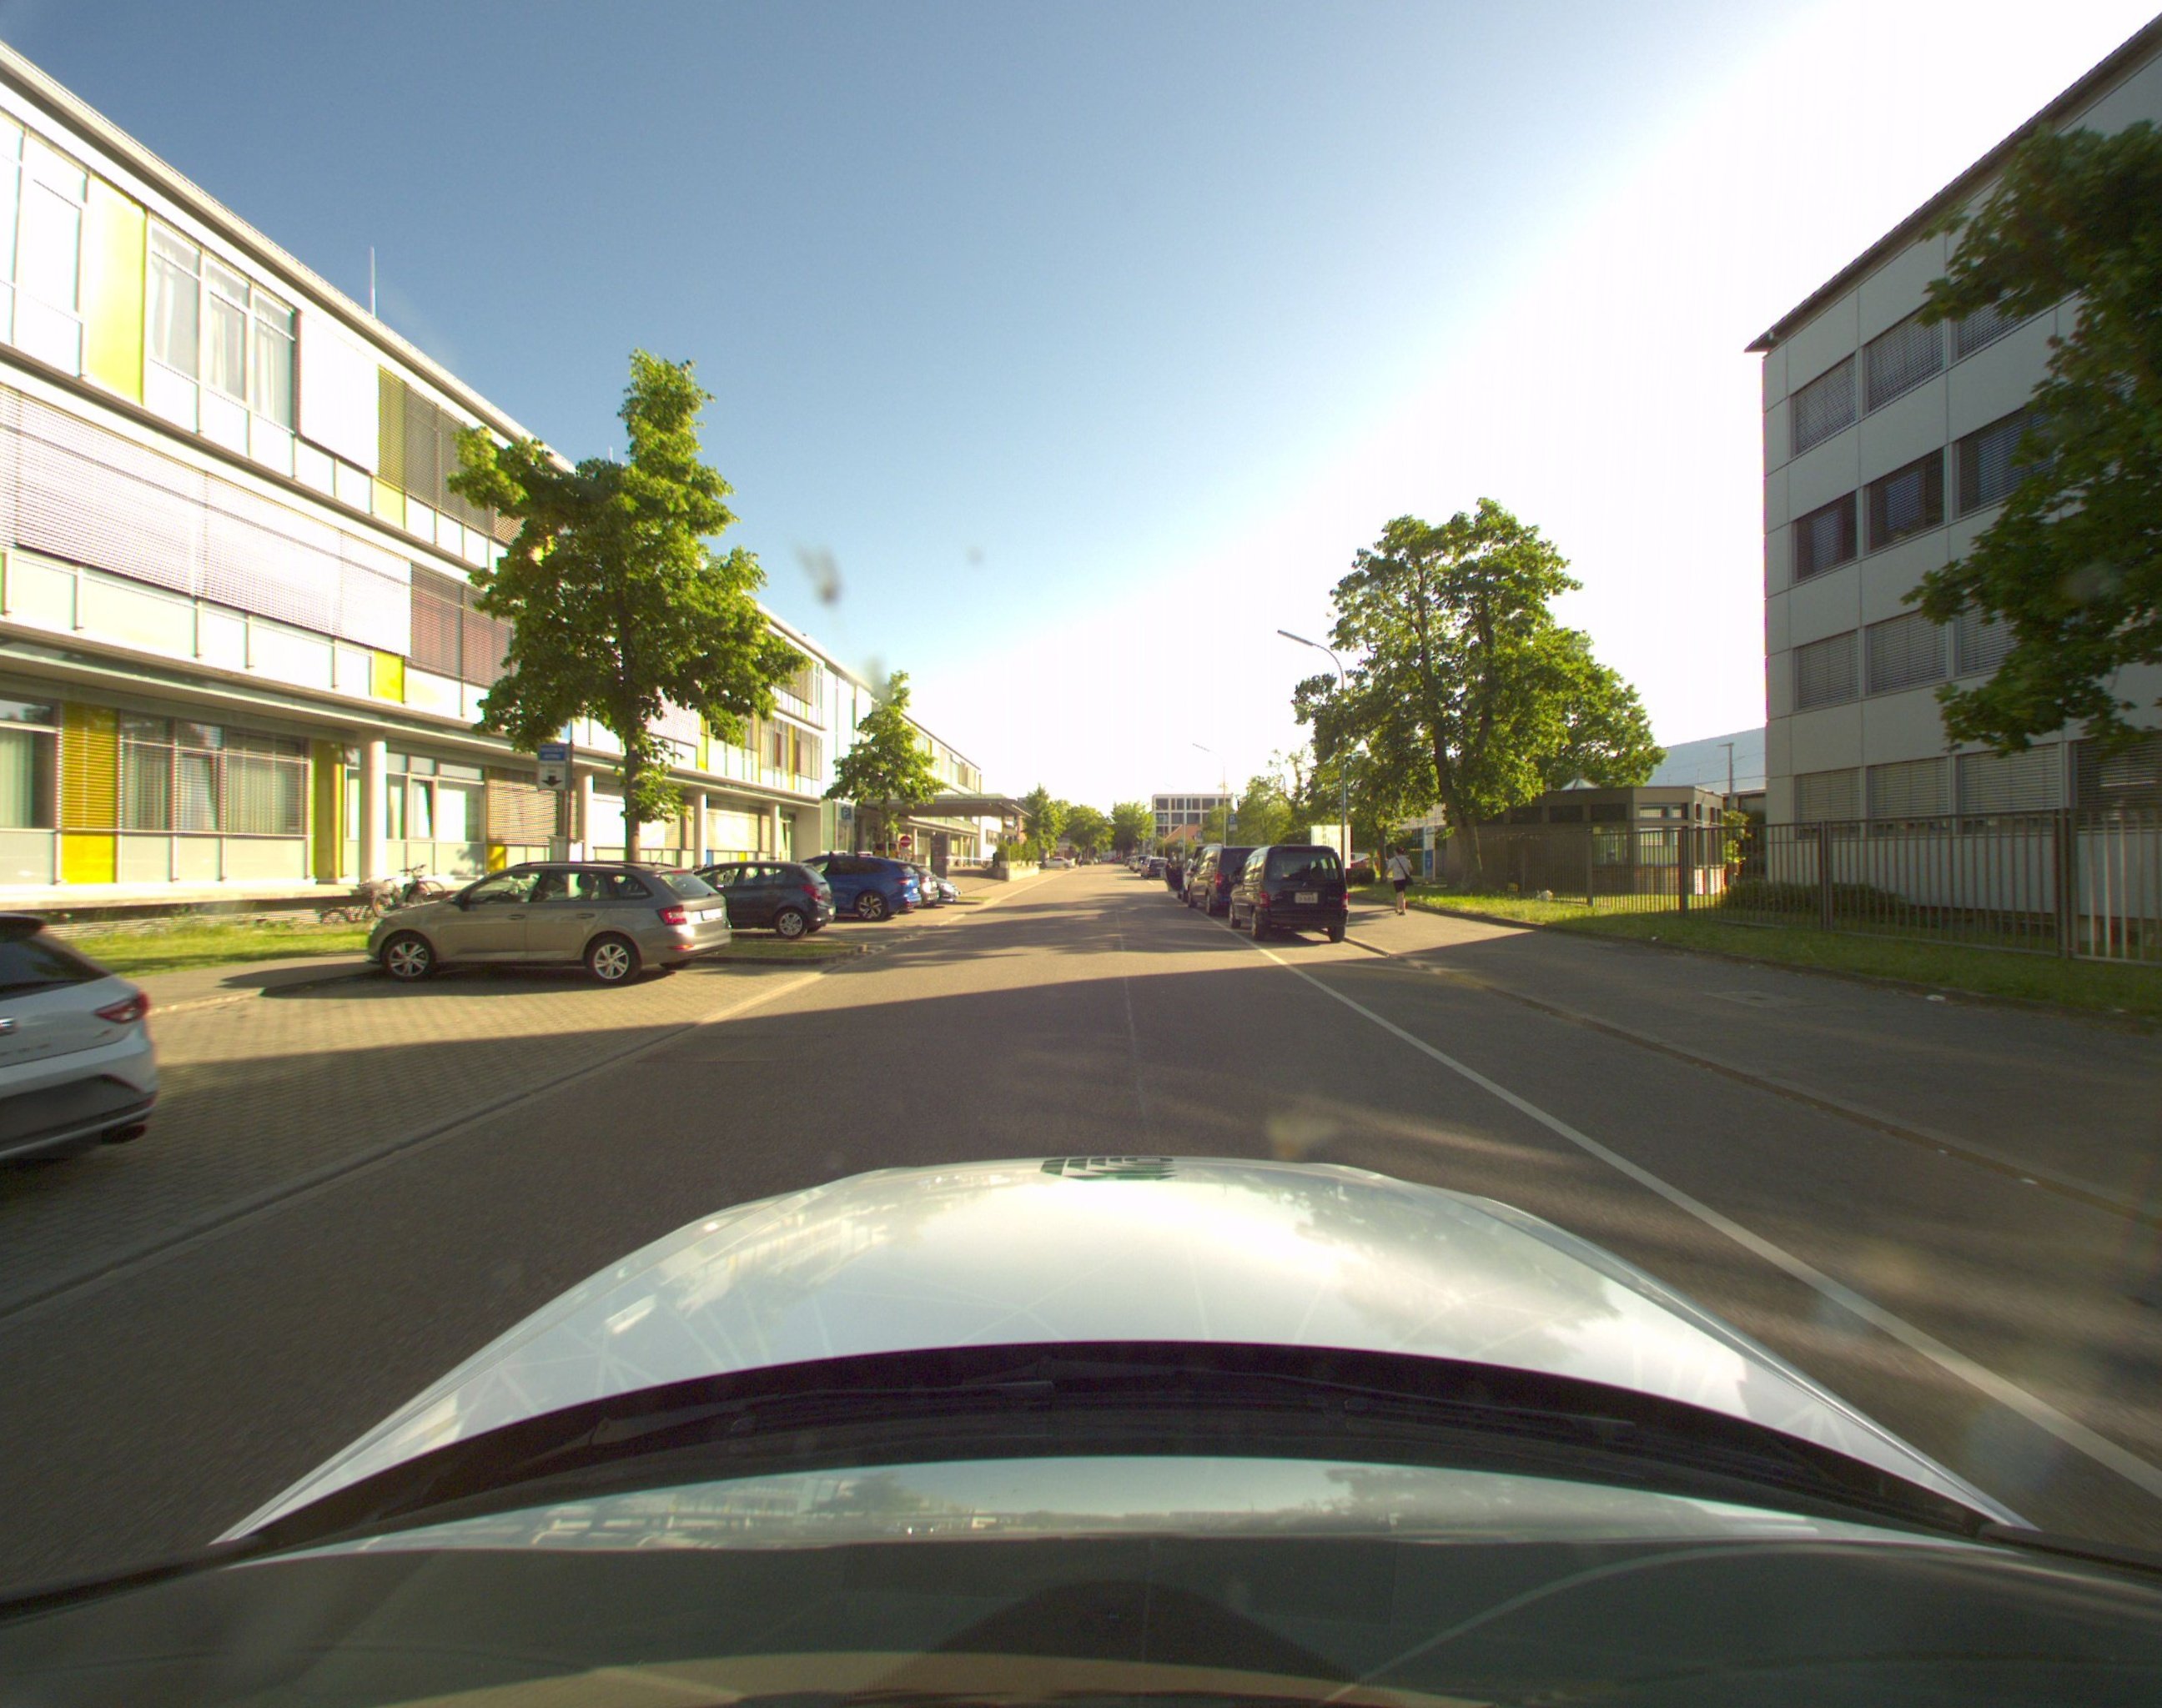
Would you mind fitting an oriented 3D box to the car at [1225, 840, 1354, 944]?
[{"bbox_3d":[4.038,0.677,16.408,1.726,1.830,3.907,0,0,2],"label":"car"}]

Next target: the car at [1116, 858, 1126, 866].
[{"bbox_3d":[8.385,1.715,171.411,1.885,1.680,4.000,0,0,0],"label":"car"}]

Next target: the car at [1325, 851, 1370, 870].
[{"bbox_3d":[27.526,0.689,84.206,3.975,2.014,1.999,0,-2,-1],"label":"car"}]

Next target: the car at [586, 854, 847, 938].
[{"bbox_3d":[-6.983,0.788,15.974,4.203,1.486,1.870,1,0,-2],"label":"car"}]

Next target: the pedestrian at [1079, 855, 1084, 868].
[{"bbox_3d":[0.077,0.993,104.824,0.616,1.624,0.716,-1,0,1],"label":"pedestrian"}]

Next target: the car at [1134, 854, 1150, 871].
[{"bbox_3d":[5.812,0.770,77.528,1.430,1.560,3.043,0,0,2],"label":"car"}]

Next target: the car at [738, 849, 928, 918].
[{"bbox_3d":[-6.147,0.713,20.591,4.203,1.603,1.870,1,0,-2],"label":"car"}]

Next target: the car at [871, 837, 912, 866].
[{"bbox_3d":[-13.806,-0.164,59.510,1.986,2.014,4.001,0,-1,2],"label":"car"}]

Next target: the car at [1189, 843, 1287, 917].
[{"bbox_3d":[4.240,0.663,22.649,1.986,1.823,4.200,-1,0,2],"label":"car"}]

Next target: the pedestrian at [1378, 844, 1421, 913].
[{"bbox_3d":[7.866,0.594,20.161,0.696,1.661,0.752,-3,0,1],"label":"pedestrian"}]

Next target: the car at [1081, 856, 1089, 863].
[{"bbox_3d":[0.800,1.157,170.496,1.721,1.536,4.000,0,0,0],"label":"car"}]

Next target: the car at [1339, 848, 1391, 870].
[{"bbox_3d":[25.930,0.455,74.430,3.978,2.014,1.998,0,-2,-3],"label":"car"}]

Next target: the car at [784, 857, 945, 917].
[{"bbox_3d":[-6.009,0.901,22.980,3.975,1.552,1.999,-1,0,-1],"label":"car"}]

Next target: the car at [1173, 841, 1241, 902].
[{"bbox_3d":[4.400,0.588,28.897,1.868,1.978,4.001,-1,0,2],"label":"car"}]

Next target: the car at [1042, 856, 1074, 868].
[{"bbox_3d":[-2.884,1.062,104.137,3.972,1.519,2.001,0,-2,2],"label":"car"}]

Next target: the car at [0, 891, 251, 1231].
[{"bbox_3d":[-6.504,0.860,3.477,3.977,1.358,1.742,1,0,-2],"label":"car"}]

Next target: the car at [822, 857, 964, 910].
[{"bbox_3d":[-5.786,0.893,25.486,3.975,1.552,1.999,0,0,-1],"label":"car"}]

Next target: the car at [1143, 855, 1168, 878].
[{"bbox_3d":[5.084,0.854,55.973,1.491,1.479,3.651,-1,0,2],"label":"car"}]

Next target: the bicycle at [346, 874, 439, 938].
[{"bbox_3d":[-12.178,0.897,14.453,0.772,1.017,1.367,-1,0,-18],"label":"bicycle"}]

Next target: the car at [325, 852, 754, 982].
[{"bbox_3d":[-6.745,0.752,10.552,4.203,1.462,1.870,1,0,-2],"label":"car"}]

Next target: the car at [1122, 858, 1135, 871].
[{"bbox_3d":[7.559,1.607,129.187,1.986,2.014,4.001,0,-1,2],"label":"car"}]
